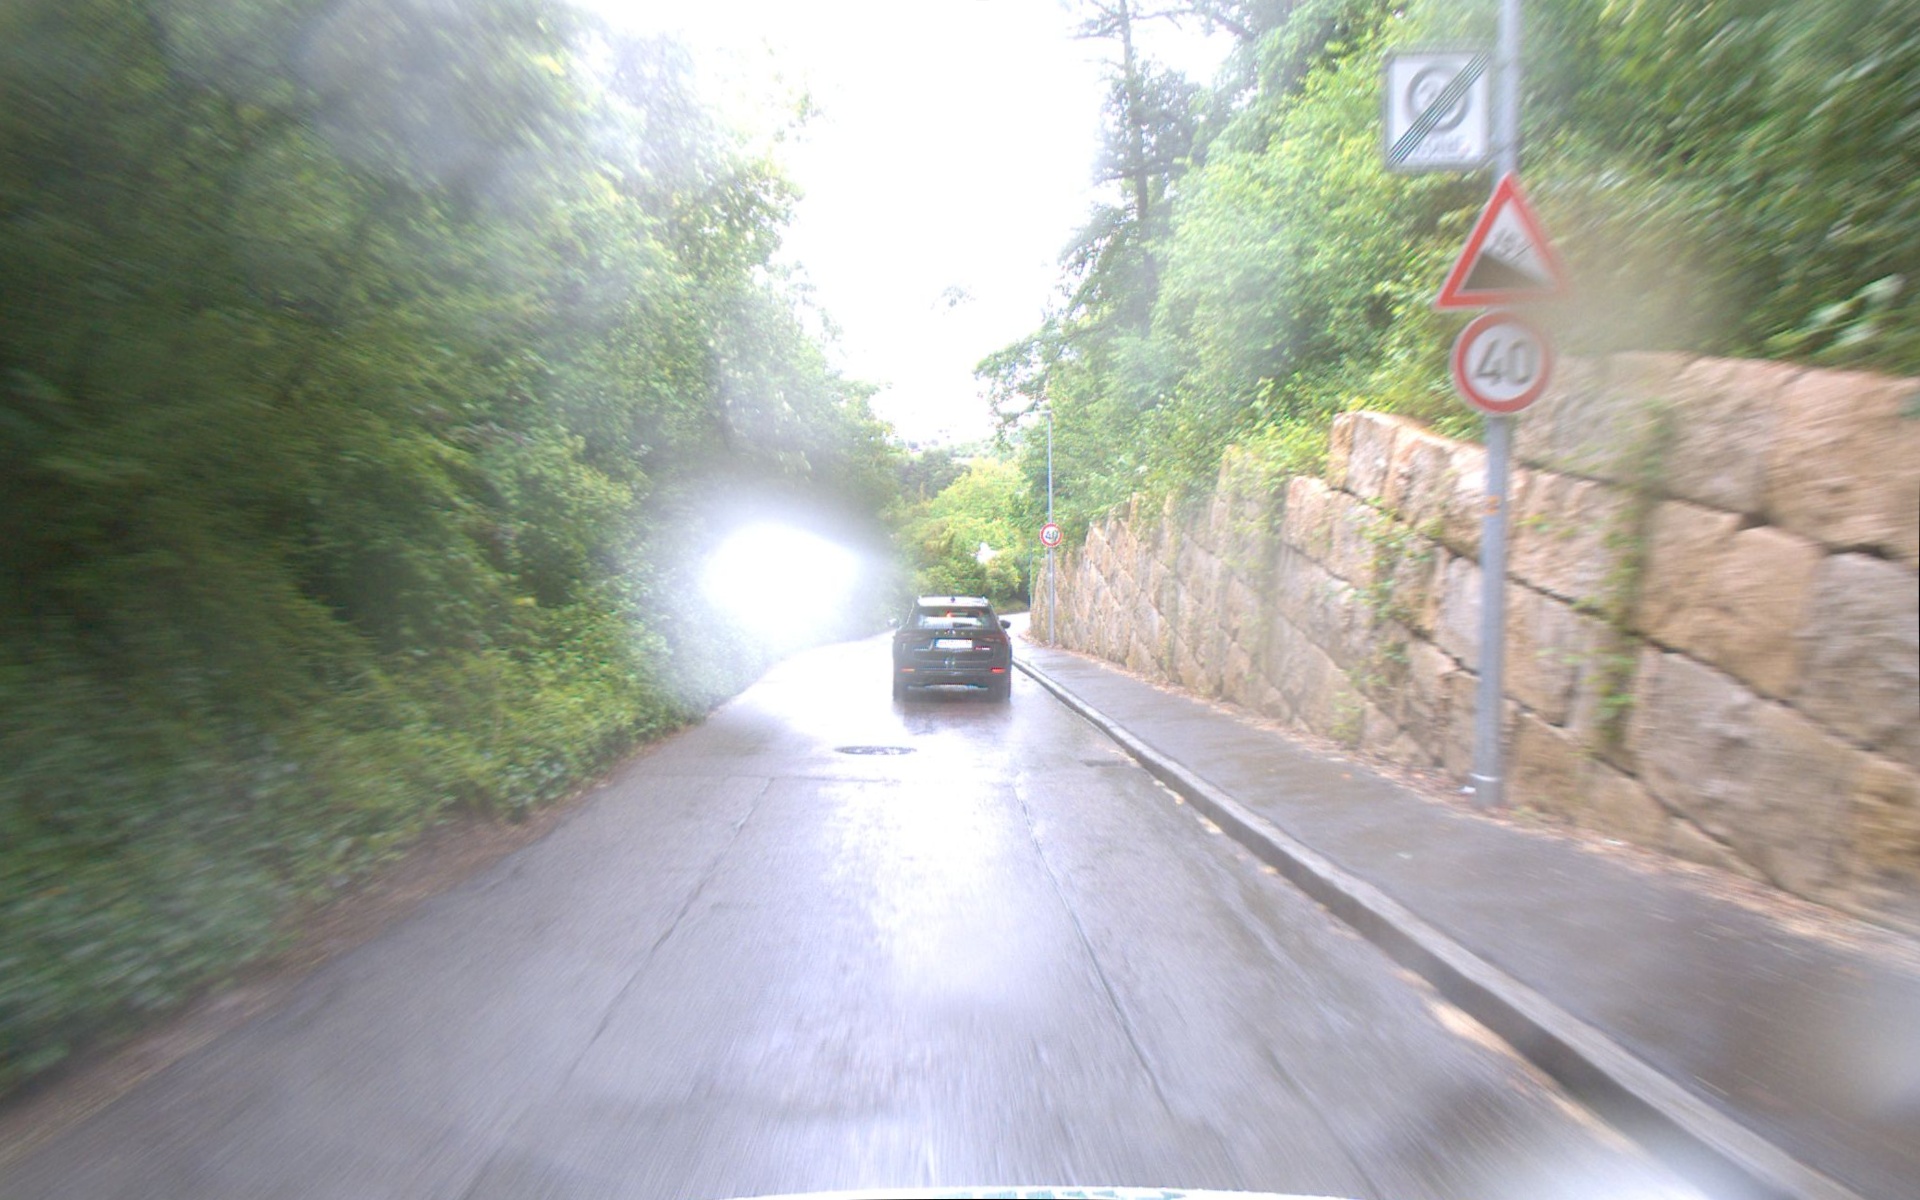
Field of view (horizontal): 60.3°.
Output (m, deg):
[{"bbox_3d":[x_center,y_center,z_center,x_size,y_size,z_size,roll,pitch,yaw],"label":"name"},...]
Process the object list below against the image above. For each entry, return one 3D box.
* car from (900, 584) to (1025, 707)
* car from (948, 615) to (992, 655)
[{"bbox_3d":[-0.036,0.614,24.926,1.666,1.475,3.999,-1,4,-3],"label":"car"},{"bbox_3d":[0.428,1.617,77.328,1.825,1.774,3.998,2,0,-2],"label":"car"}]
